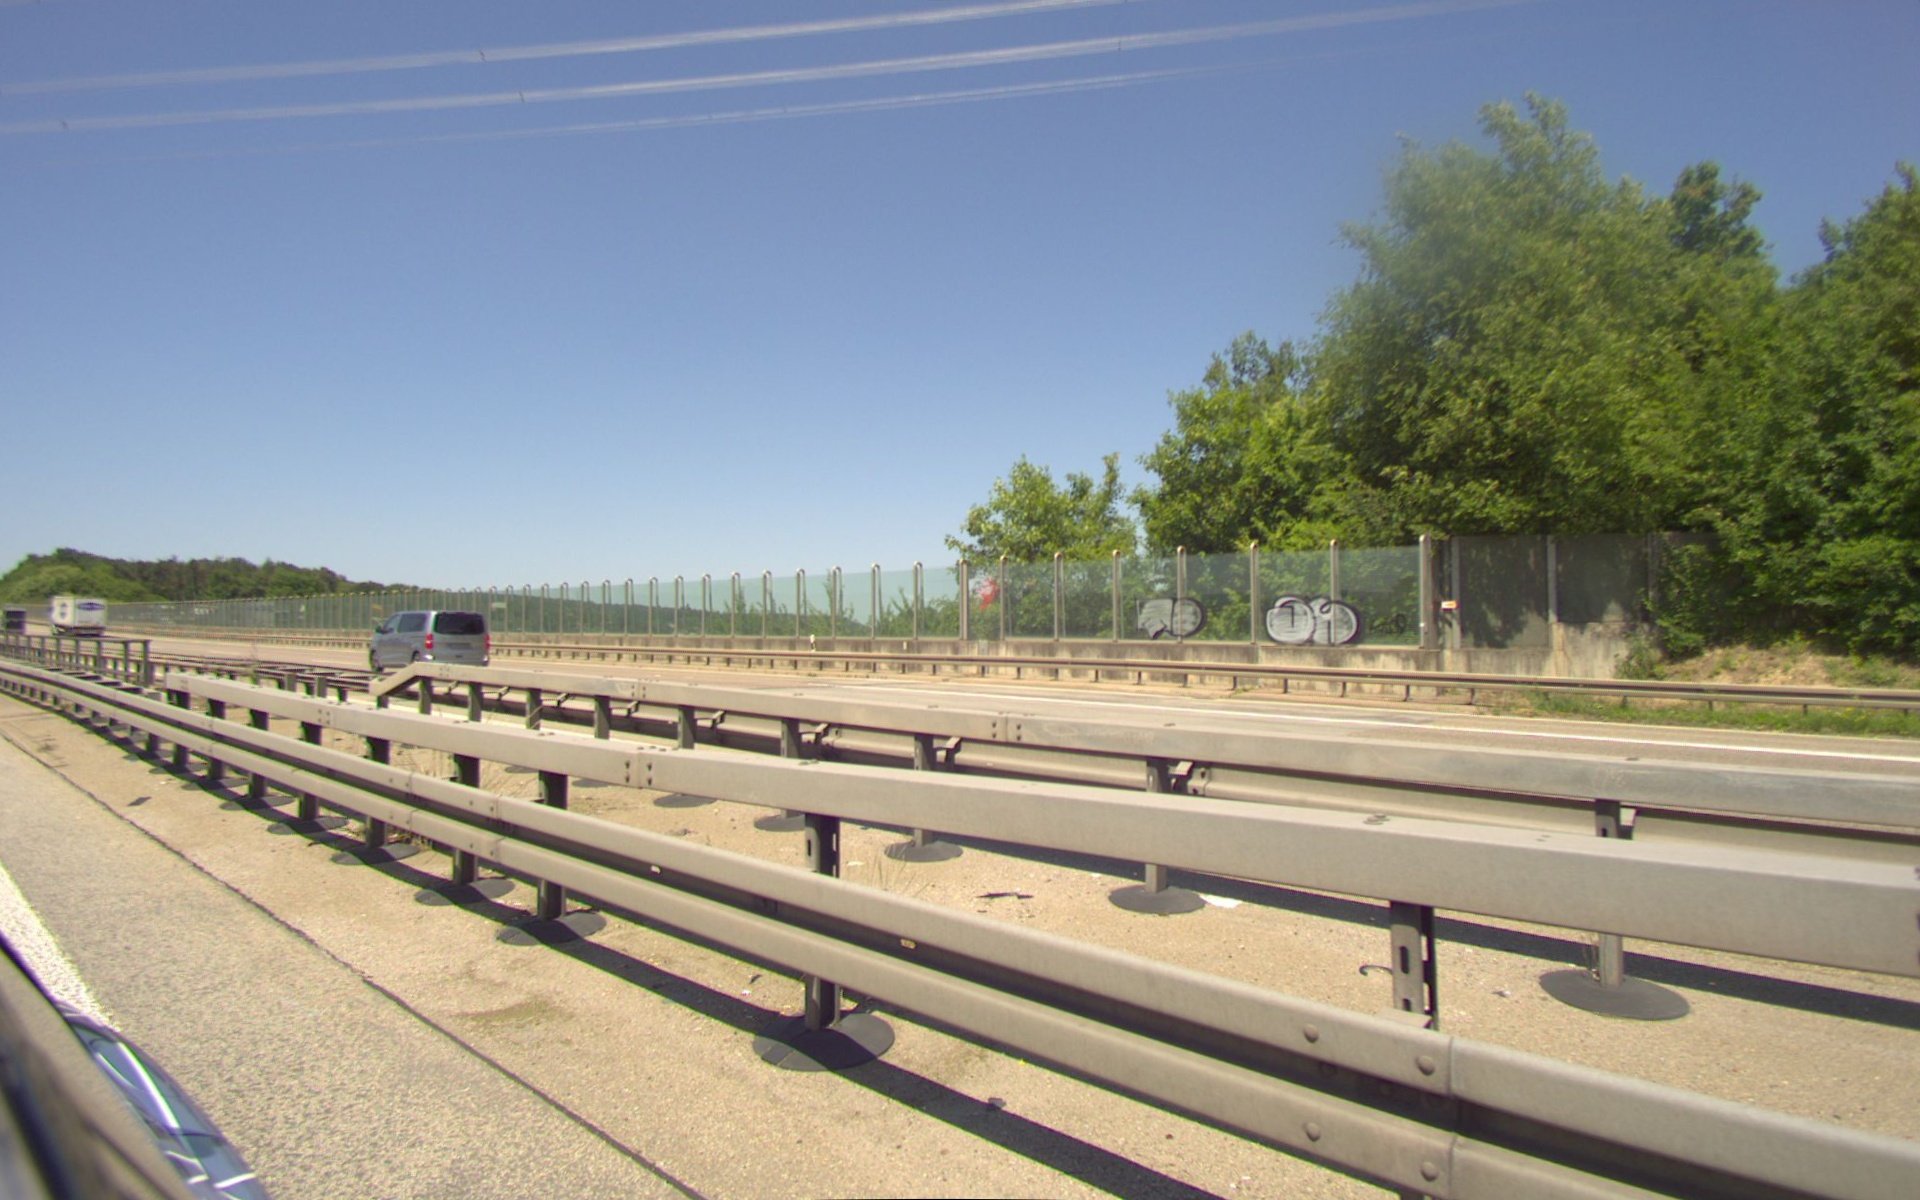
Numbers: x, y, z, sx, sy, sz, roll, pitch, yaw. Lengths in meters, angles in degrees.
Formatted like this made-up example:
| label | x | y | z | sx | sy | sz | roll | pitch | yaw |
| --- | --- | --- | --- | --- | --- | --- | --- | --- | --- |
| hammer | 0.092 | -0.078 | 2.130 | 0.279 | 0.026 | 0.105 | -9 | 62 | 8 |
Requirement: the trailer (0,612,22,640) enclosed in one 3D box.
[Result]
| label | x | y | z | sx | sy | sz | roll | pitch | yaw |
| --- | --- | --- | --- | --- | --- | --- | --- | --- | --- |
| trailer | -97.827 | 2.612 | 103.501 | 5.375 | 2.798 | 2.142 | -1 | -4 | 42 |

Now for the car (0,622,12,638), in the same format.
| label | x | y | z | sx | sy | sz | roll | pitch | yaw |
| --- | --- | --- | --- | --- | --- | --- | --- | --- | --- |
| car | -101.459 | 3.127 | 106.722 | 4.627 | 1.637 | 1.851 | -1 | -1 | 42 |

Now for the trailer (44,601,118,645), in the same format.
| label | x | y | z | sx | sy | sz | roll | pitch | yaw |
| --- | --- | --- | --- | --- | --- | --- | --- | --- | --- |
| trailer | -89.470 | 2.393 | 102.865 | 14.035 | 4.268 | 3.946 | -2 | -2 | 42 |

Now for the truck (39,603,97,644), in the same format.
| label | x | y | z | sx | sy | sz | roll | pitch | yaw |
| --- | --- | --- | --- | --- | --- | --- | --- | --- | --- |
| truck | -95.205 | 2.553 | 108.014 | 4.856 | 4.261 | 3.964 | -2 | -2 | 41 |

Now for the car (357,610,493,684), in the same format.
| label | x | y | z | sx | sy | sz | roll | pitch | yaw |
| --- | --- | --- | --- | --- | --- | --- | --- | --- | --- |
| car | -15.897 | 1.308 | 29.962 | 4.895 | 1.955 | 1.972 | -1 | 1 | 42 |
